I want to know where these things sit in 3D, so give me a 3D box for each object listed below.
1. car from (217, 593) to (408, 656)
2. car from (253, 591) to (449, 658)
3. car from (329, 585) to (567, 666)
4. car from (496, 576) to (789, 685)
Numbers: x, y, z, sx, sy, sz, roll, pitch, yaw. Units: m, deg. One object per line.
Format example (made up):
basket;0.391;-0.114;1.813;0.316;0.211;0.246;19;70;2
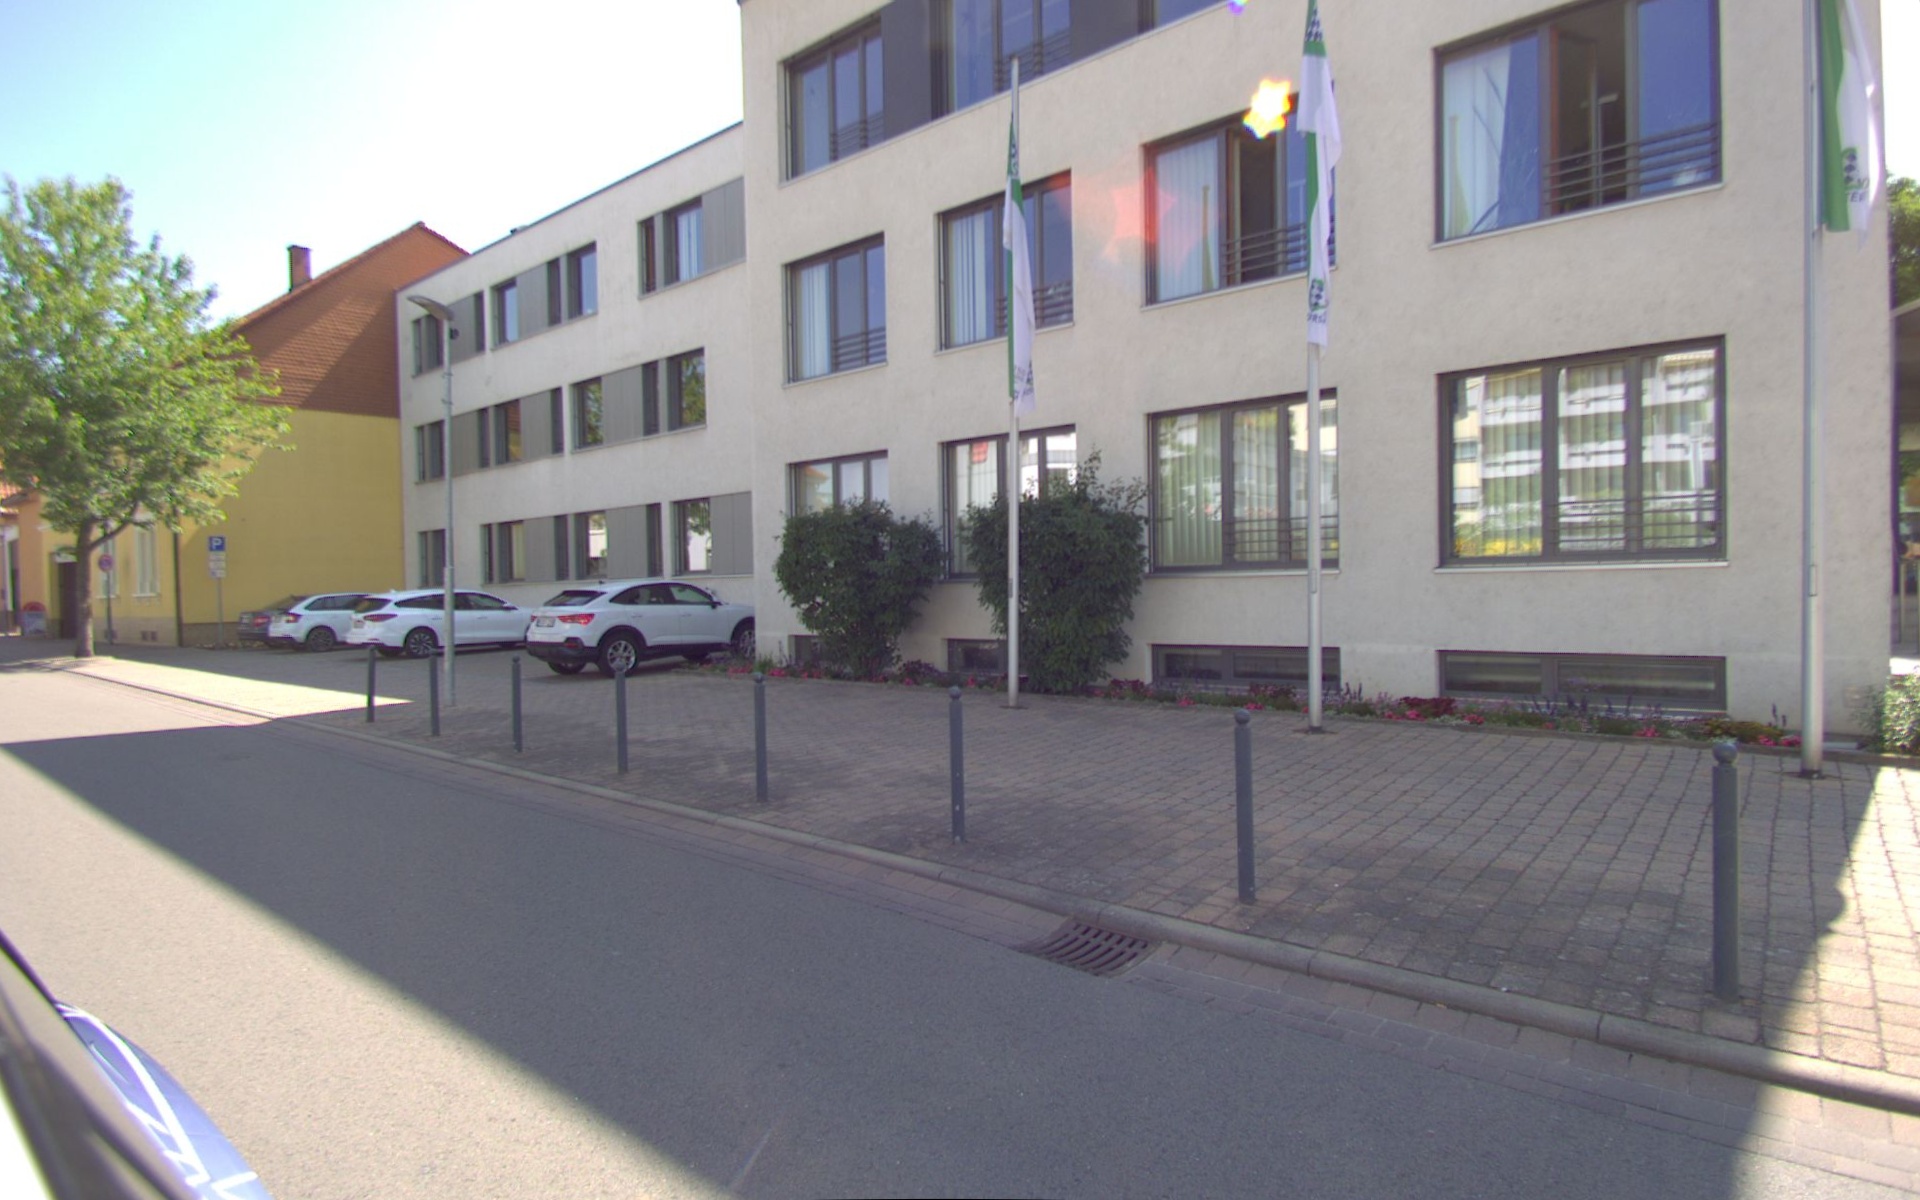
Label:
car;-17.691;0.638;27.807;1.968;1.442;3.952;-2;1;36
car;-15.719;0.591;26.273;1.806;1.462;3.947;-1;1;40
car;-11.647;0.492;23.278;1.933;1.565;4.459;1;3;40
car;-5.425;0.424;17.791;2.145;1.565;4.463;-1;2;38
